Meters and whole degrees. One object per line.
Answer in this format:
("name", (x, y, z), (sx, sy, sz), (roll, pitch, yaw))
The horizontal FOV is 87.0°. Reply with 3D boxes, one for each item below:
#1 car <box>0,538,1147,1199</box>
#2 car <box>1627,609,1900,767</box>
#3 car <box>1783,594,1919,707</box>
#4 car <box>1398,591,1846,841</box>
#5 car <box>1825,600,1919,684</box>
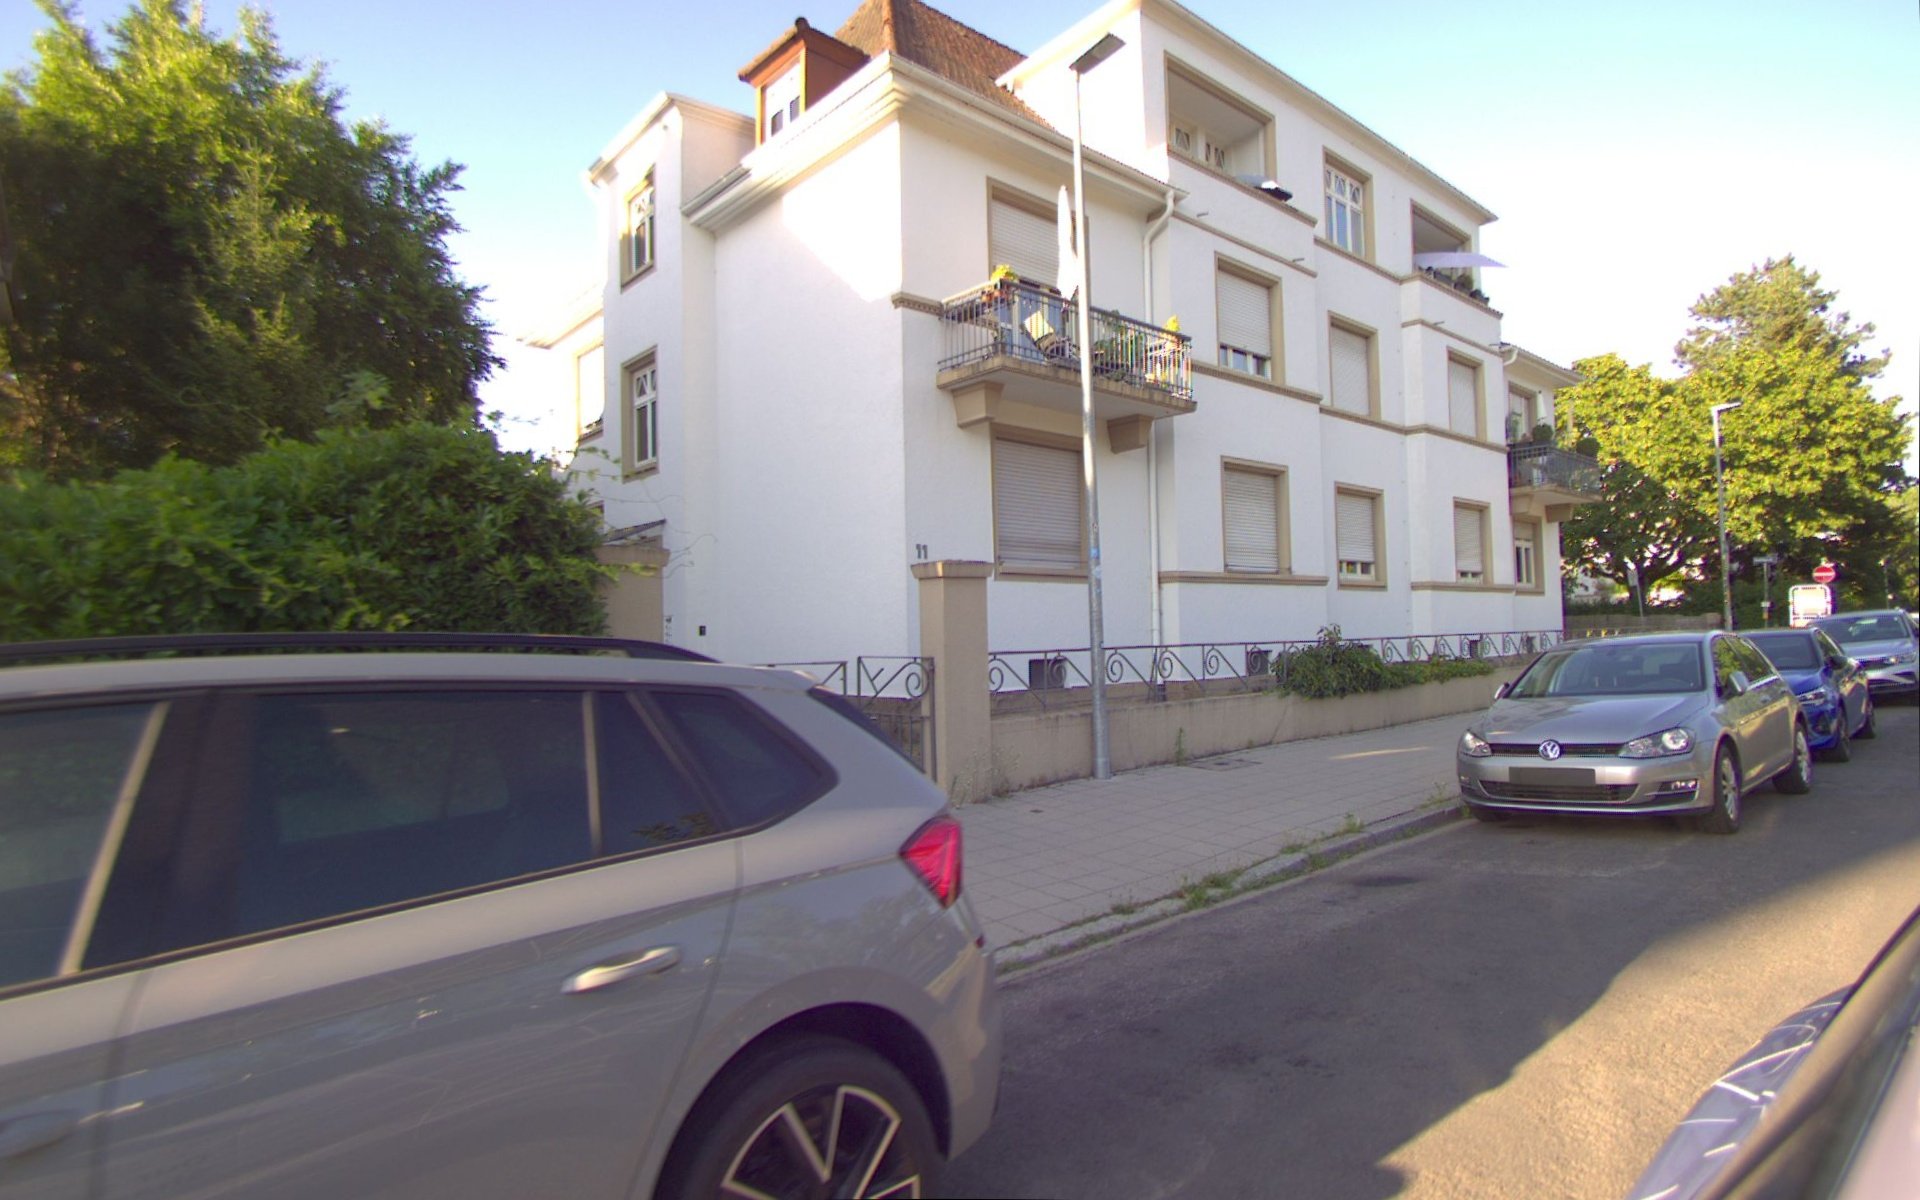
("car", (-1.854, 0.782, 1.925), (4.382, 1.557, 1.886), (-1, -5, -40))
("car", (9.686, 0.978, 12.079), (4.231, 1.454, 1.763), (-1, -8, -43))
("car", (16.213, 0.813, 17.880), (4.507, 1.670, 1.802), (-1, -6, -43))
("car", (5.797, 0.874, 8.635), (4.485, 1.580, 1.913), (2, -7, -41))
("car", (20.438, 0.815, 21.768), (4.508, 1.554, 1.878), (-1, -7, -40))
